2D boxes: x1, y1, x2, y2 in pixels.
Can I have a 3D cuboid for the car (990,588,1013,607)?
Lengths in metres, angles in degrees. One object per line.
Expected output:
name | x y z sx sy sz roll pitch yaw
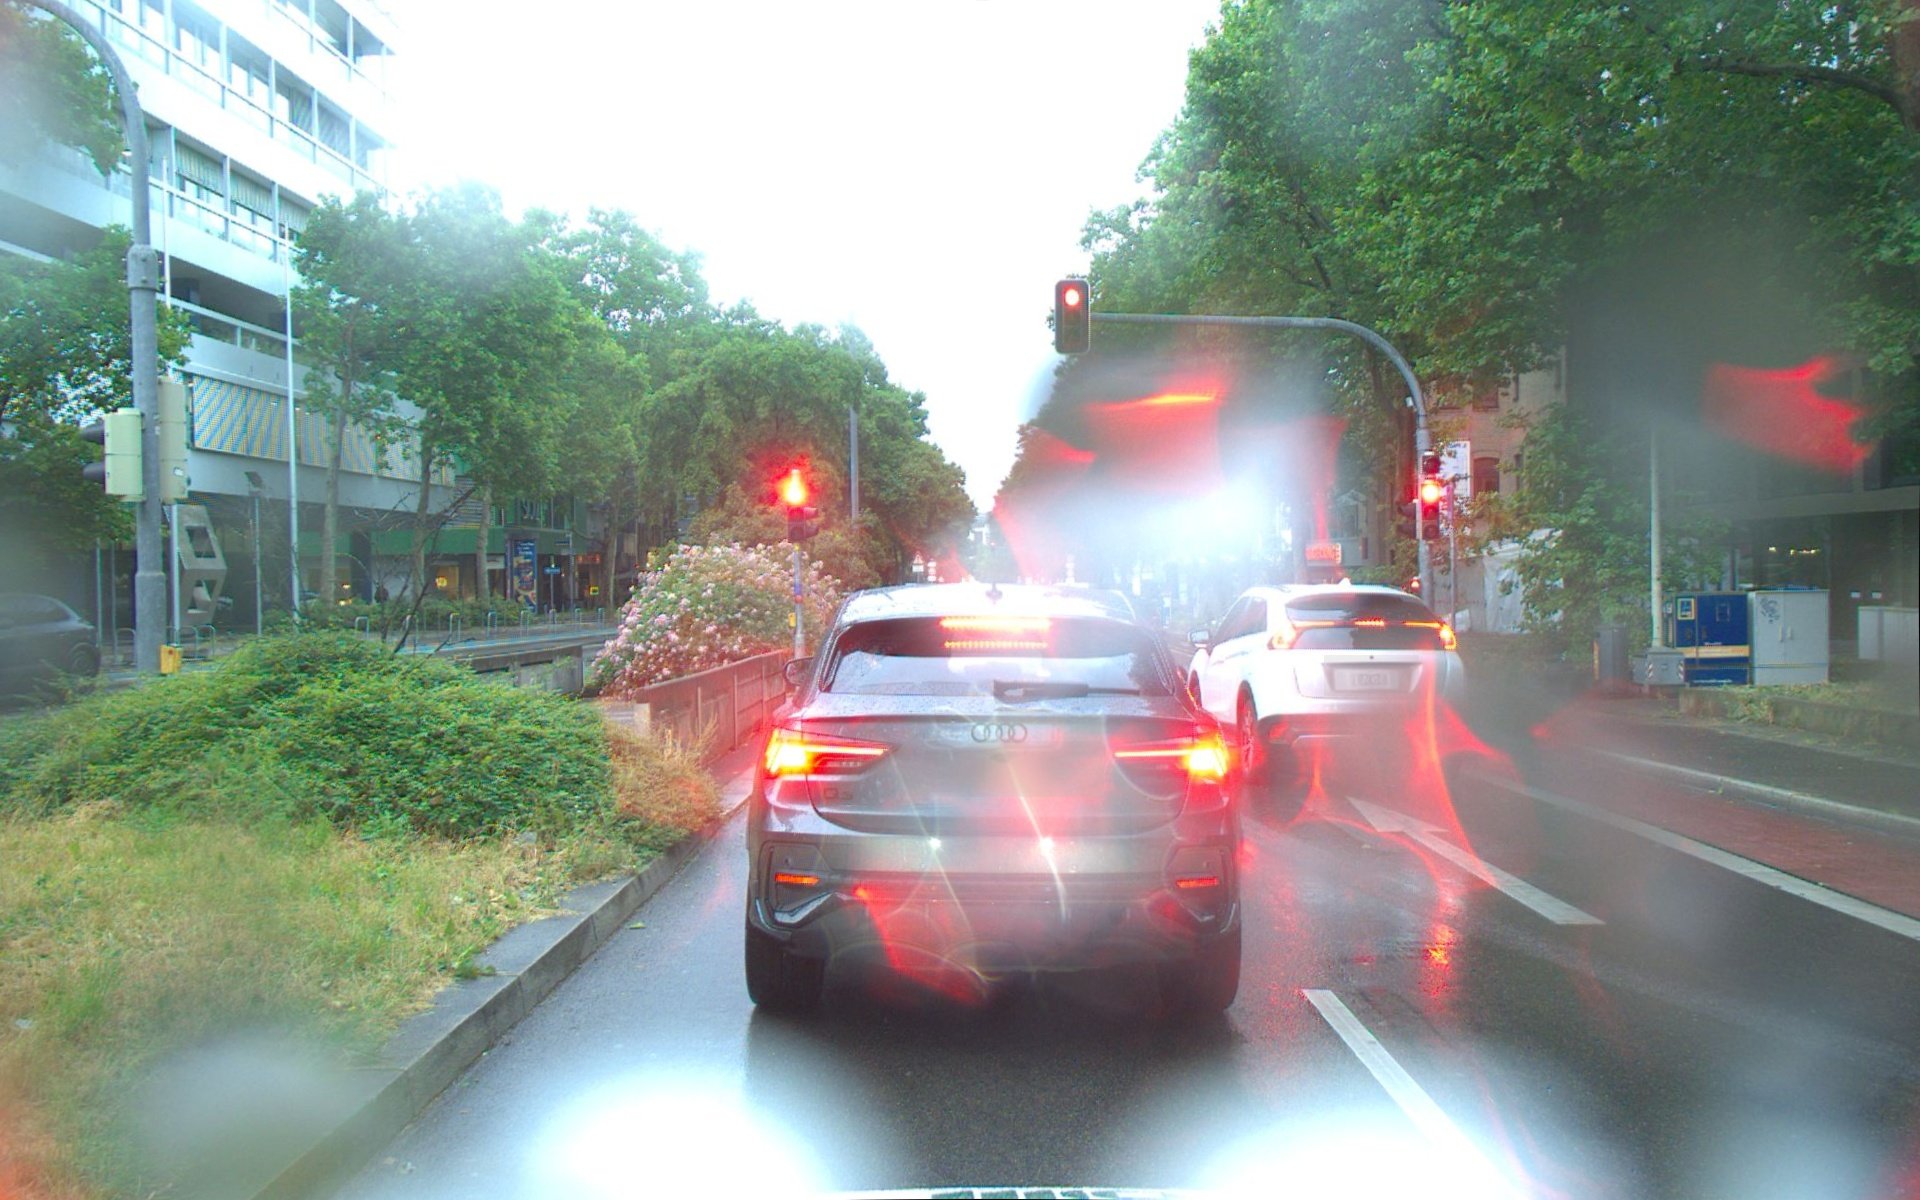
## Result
car | 3.700 -0.227 148.196 1.952 1.680 4.000 1 0 0

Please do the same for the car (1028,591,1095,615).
car | 7.531 0.207 123.246 4.549 1.736 1.997 1 -1 28

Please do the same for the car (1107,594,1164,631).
car | 7.234 0.509 68.612 1.835 1.446 4.611 1 0 0

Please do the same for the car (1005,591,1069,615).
car | 5.947 0.223 128.585 4.549 1.736 1.997 1 -1 28

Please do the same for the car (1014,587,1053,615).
car | 4.636 0.073 104.682 1.955 1.757 3.995 1 0 -5

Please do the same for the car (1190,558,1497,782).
car | 3.288 0.561 14.981 1.839 1.727 4.000 1 0 0

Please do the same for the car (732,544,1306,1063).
car | 0.159 0.639 7.221 1.812 1.630 3.999 0 0 -1

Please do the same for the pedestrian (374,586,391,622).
pedestrian | -24.740 0.177 70.861 0.599 1.508 0.573 1 -1 -12

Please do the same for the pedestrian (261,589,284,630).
pedestrian | -24.132 0.340 58.091 0.626 1.404 0.473 1 -1 -12

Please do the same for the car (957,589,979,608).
car | 0.681 -0.124 142.950 1.857 1.627 3.938 1 0 -1

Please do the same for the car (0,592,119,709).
car | -14.051 0.680 23.139 1.869 1.612 4.748 1 0 4

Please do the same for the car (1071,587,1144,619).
car | 9.720 0.211 109.258 4.519 2.049 1.959 1 -1 39

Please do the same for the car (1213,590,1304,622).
car | 10.585 0.212 58.628 2.831 1.093 1.452 1 -1 31

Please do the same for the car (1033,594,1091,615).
car | 8.689 0.370 140.710 4.549 1.736 1.997 1 -1 28

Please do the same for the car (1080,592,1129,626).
car | 6.923 0.432 79.411 1.693 1.599 4.070 1 0 -4
